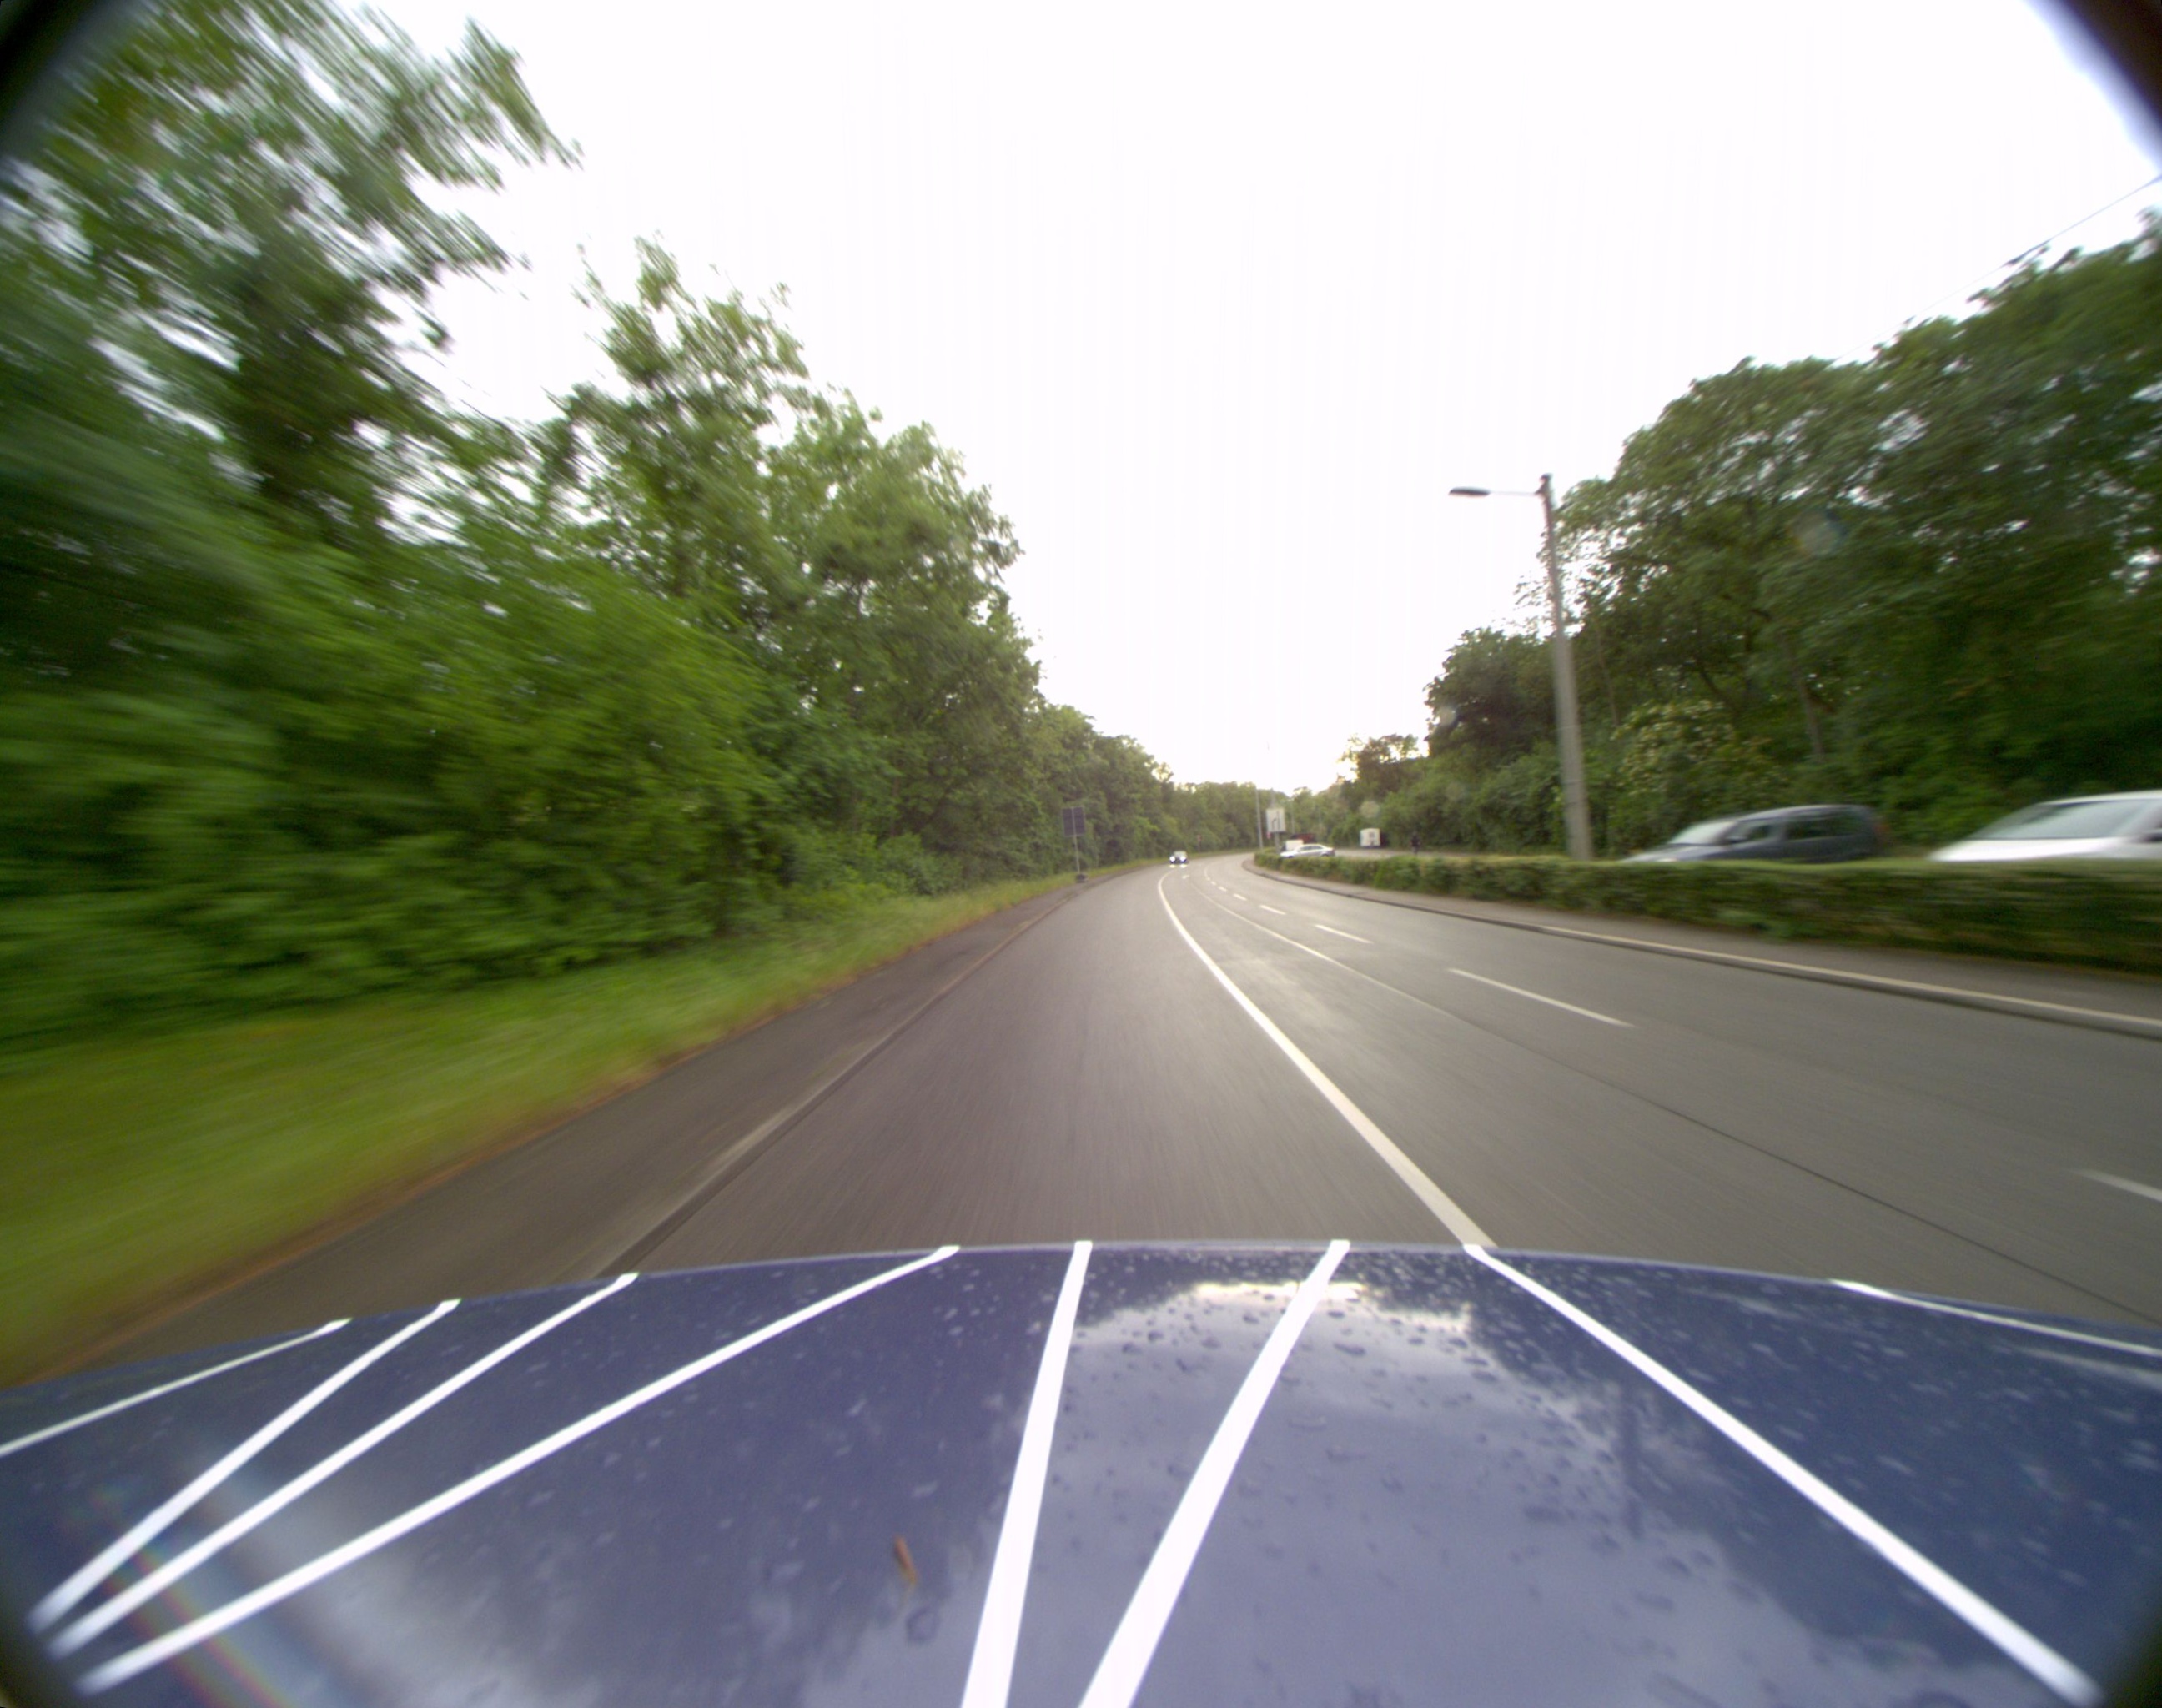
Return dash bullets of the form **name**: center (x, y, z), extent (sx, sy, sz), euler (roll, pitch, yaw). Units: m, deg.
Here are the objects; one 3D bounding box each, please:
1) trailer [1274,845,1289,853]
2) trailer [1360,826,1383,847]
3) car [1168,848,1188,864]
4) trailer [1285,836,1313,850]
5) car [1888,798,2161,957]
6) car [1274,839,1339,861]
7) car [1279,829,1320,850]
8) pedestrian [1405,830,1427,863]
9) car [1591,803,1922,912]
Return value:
- **trailer**: center (26.725, -0.701, 101.269), extent (1.804, 1.028, 1.335), euler (-3, 1, 13)
- **trailer**: center (42.738, -2.639, 111.881), extent (2.479, 2.857, 7.985), euler (-2, 1, 16)
- **car**: center (11.292, 0.194, 88.331), extent (1.997, 1.674, 4.003), euler (-2, 1, 12)
- **trailer**: center (34.568, -1.740, 120.431), extent (3.991, 2.041, 1.875), euler (-2, 1, 19)
- **car**: center (12.252, 0.177, 8.851), extent (3.654, 1.582, 1.851), euler (-3, 0, 1)
- **car**: center (17.929, -0.309, 60.578), extent (4.585, 1.497, 2.000), euler (-3, 1, 4)
- **car**: center (36.112, -2.471, 125.637), extent (6.280, 3.096, 2.754), euler (-3, 2, 16)
- **pedestrian**: center (18.740, -0.421, 42.494), extent (0.818, 1.787, 1.136), euler (-3, 1, 9)
- **car**: center (12.614, 0.074, 14.496), extent (4.299, 1.698, 2.001), euler (-3, 0, 7)
